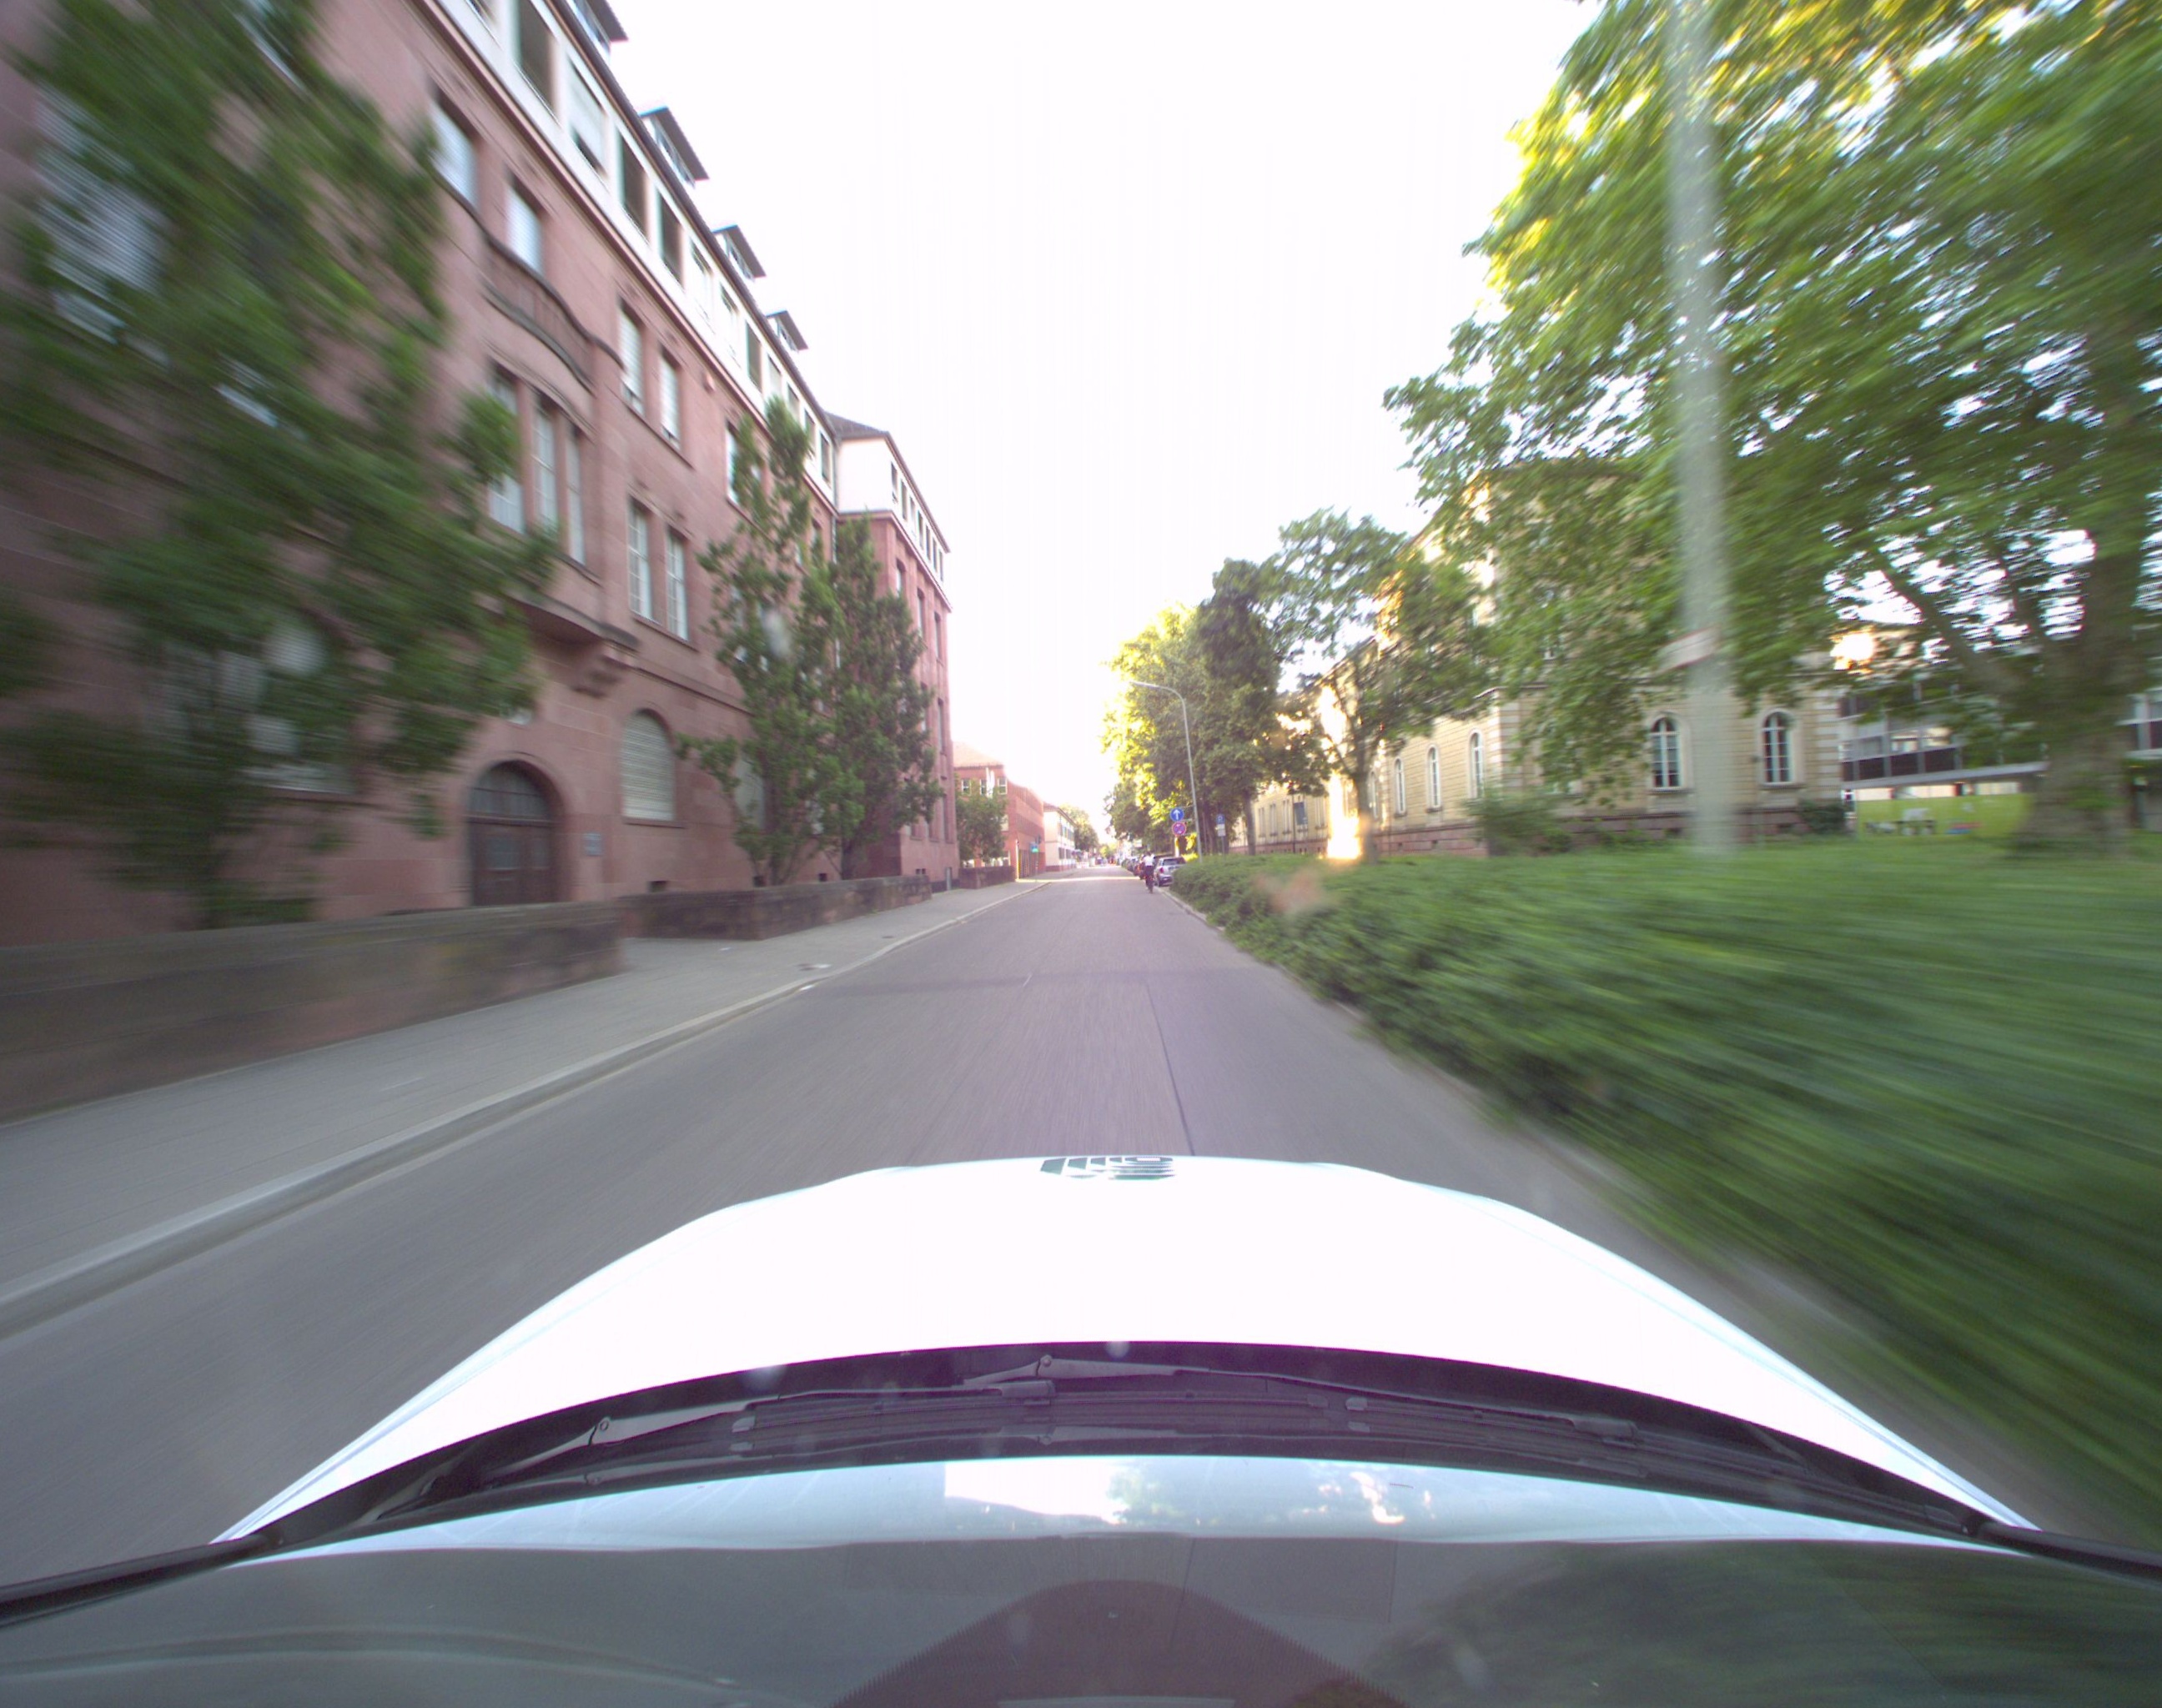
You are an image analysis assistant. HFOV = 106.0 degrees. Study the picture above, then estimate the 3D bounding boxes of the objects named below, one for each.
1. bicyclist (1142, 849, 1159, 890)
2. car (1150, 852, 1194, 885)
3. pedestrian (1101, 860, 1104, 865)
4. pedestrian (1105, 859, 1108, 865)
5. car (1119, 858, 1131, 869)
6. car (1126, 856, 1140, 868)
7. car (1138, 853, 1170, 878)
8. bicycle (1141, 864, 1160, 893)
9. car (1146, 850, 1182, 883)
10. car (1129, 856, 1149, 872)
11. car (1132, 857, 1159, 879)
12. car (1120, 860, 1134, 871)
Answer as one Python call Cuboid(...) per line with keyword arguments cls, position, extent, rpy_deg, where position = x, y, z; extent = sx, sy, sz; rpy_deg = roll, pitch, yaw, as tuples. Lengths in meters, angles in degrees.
Cuboid(cls="bicyclist", position=(2.919, 0.650, 34.330), extent=(0.637, 1.667, 0.842), rpy_deg=(-1, -1, 0))
Cuboid(cls="car", position=(4.515, 0.733, 40.715), extent=(1.680, 1.447, 3.671), rpy_deg=(-5, -1, 0))
Cuboid(cls="pedestrian", position=(5.427, 2.143, 205.431), extent=(0.532, 1.472, 0.448), rpy_deg=(-3, -1, 0))
Cuboid(cls="pedestrian", position=(6.449, 1.975, 205.289), extent=(0.532, 1.472, 0.448), rpy_deg=(-3, -1, 0))
Cuboid(cls="car", position=(9.599, 2.103, 178.593), extent=(2.484, 2.196, 4.910), rpy_deg=(-3, -1, 1))
Cuboid(cls="car", position=(8.261, 1.262, 128.940), extent=(1.986, 1.749, 4.000), rpy_deg=(-3, -1, 1))
Cuboid(cls="car", position=(4.837, 0.747, 54.194), extent=(1.710, 1.537, 4.048), rpy_deg=(-3, 0, 0))
Cuboid(cls="bicycle", position=(2.925, 1.013, 34.298), extent=(0.636, 1.193, 1.876), rpy_deg=(-1, -1, 0))
Cuboid(cls="car", position=(4.737, 0.672, 47.040), extent=(1.709, 1.712, 4.476), rpy_deg=(-3, 0, 3))
Cuboid(cls="car", position=(6.557, 1.124, 92.409), extent=(1.987, 1.585, 4.000), rpy_deg=(-3, -1, 1))
Cuboid(cls="car", position=(5.552, 1.219, 70.487), extent=(1.986, 1.706, 4.000), rpy_deg=(-3, -1, 1))
Cuboid(cls="car", position=(8.472, 2.167, 150.909), extent=(2.273, 1.854, 4.910), rpy_deg=(-3, -1, 1))
